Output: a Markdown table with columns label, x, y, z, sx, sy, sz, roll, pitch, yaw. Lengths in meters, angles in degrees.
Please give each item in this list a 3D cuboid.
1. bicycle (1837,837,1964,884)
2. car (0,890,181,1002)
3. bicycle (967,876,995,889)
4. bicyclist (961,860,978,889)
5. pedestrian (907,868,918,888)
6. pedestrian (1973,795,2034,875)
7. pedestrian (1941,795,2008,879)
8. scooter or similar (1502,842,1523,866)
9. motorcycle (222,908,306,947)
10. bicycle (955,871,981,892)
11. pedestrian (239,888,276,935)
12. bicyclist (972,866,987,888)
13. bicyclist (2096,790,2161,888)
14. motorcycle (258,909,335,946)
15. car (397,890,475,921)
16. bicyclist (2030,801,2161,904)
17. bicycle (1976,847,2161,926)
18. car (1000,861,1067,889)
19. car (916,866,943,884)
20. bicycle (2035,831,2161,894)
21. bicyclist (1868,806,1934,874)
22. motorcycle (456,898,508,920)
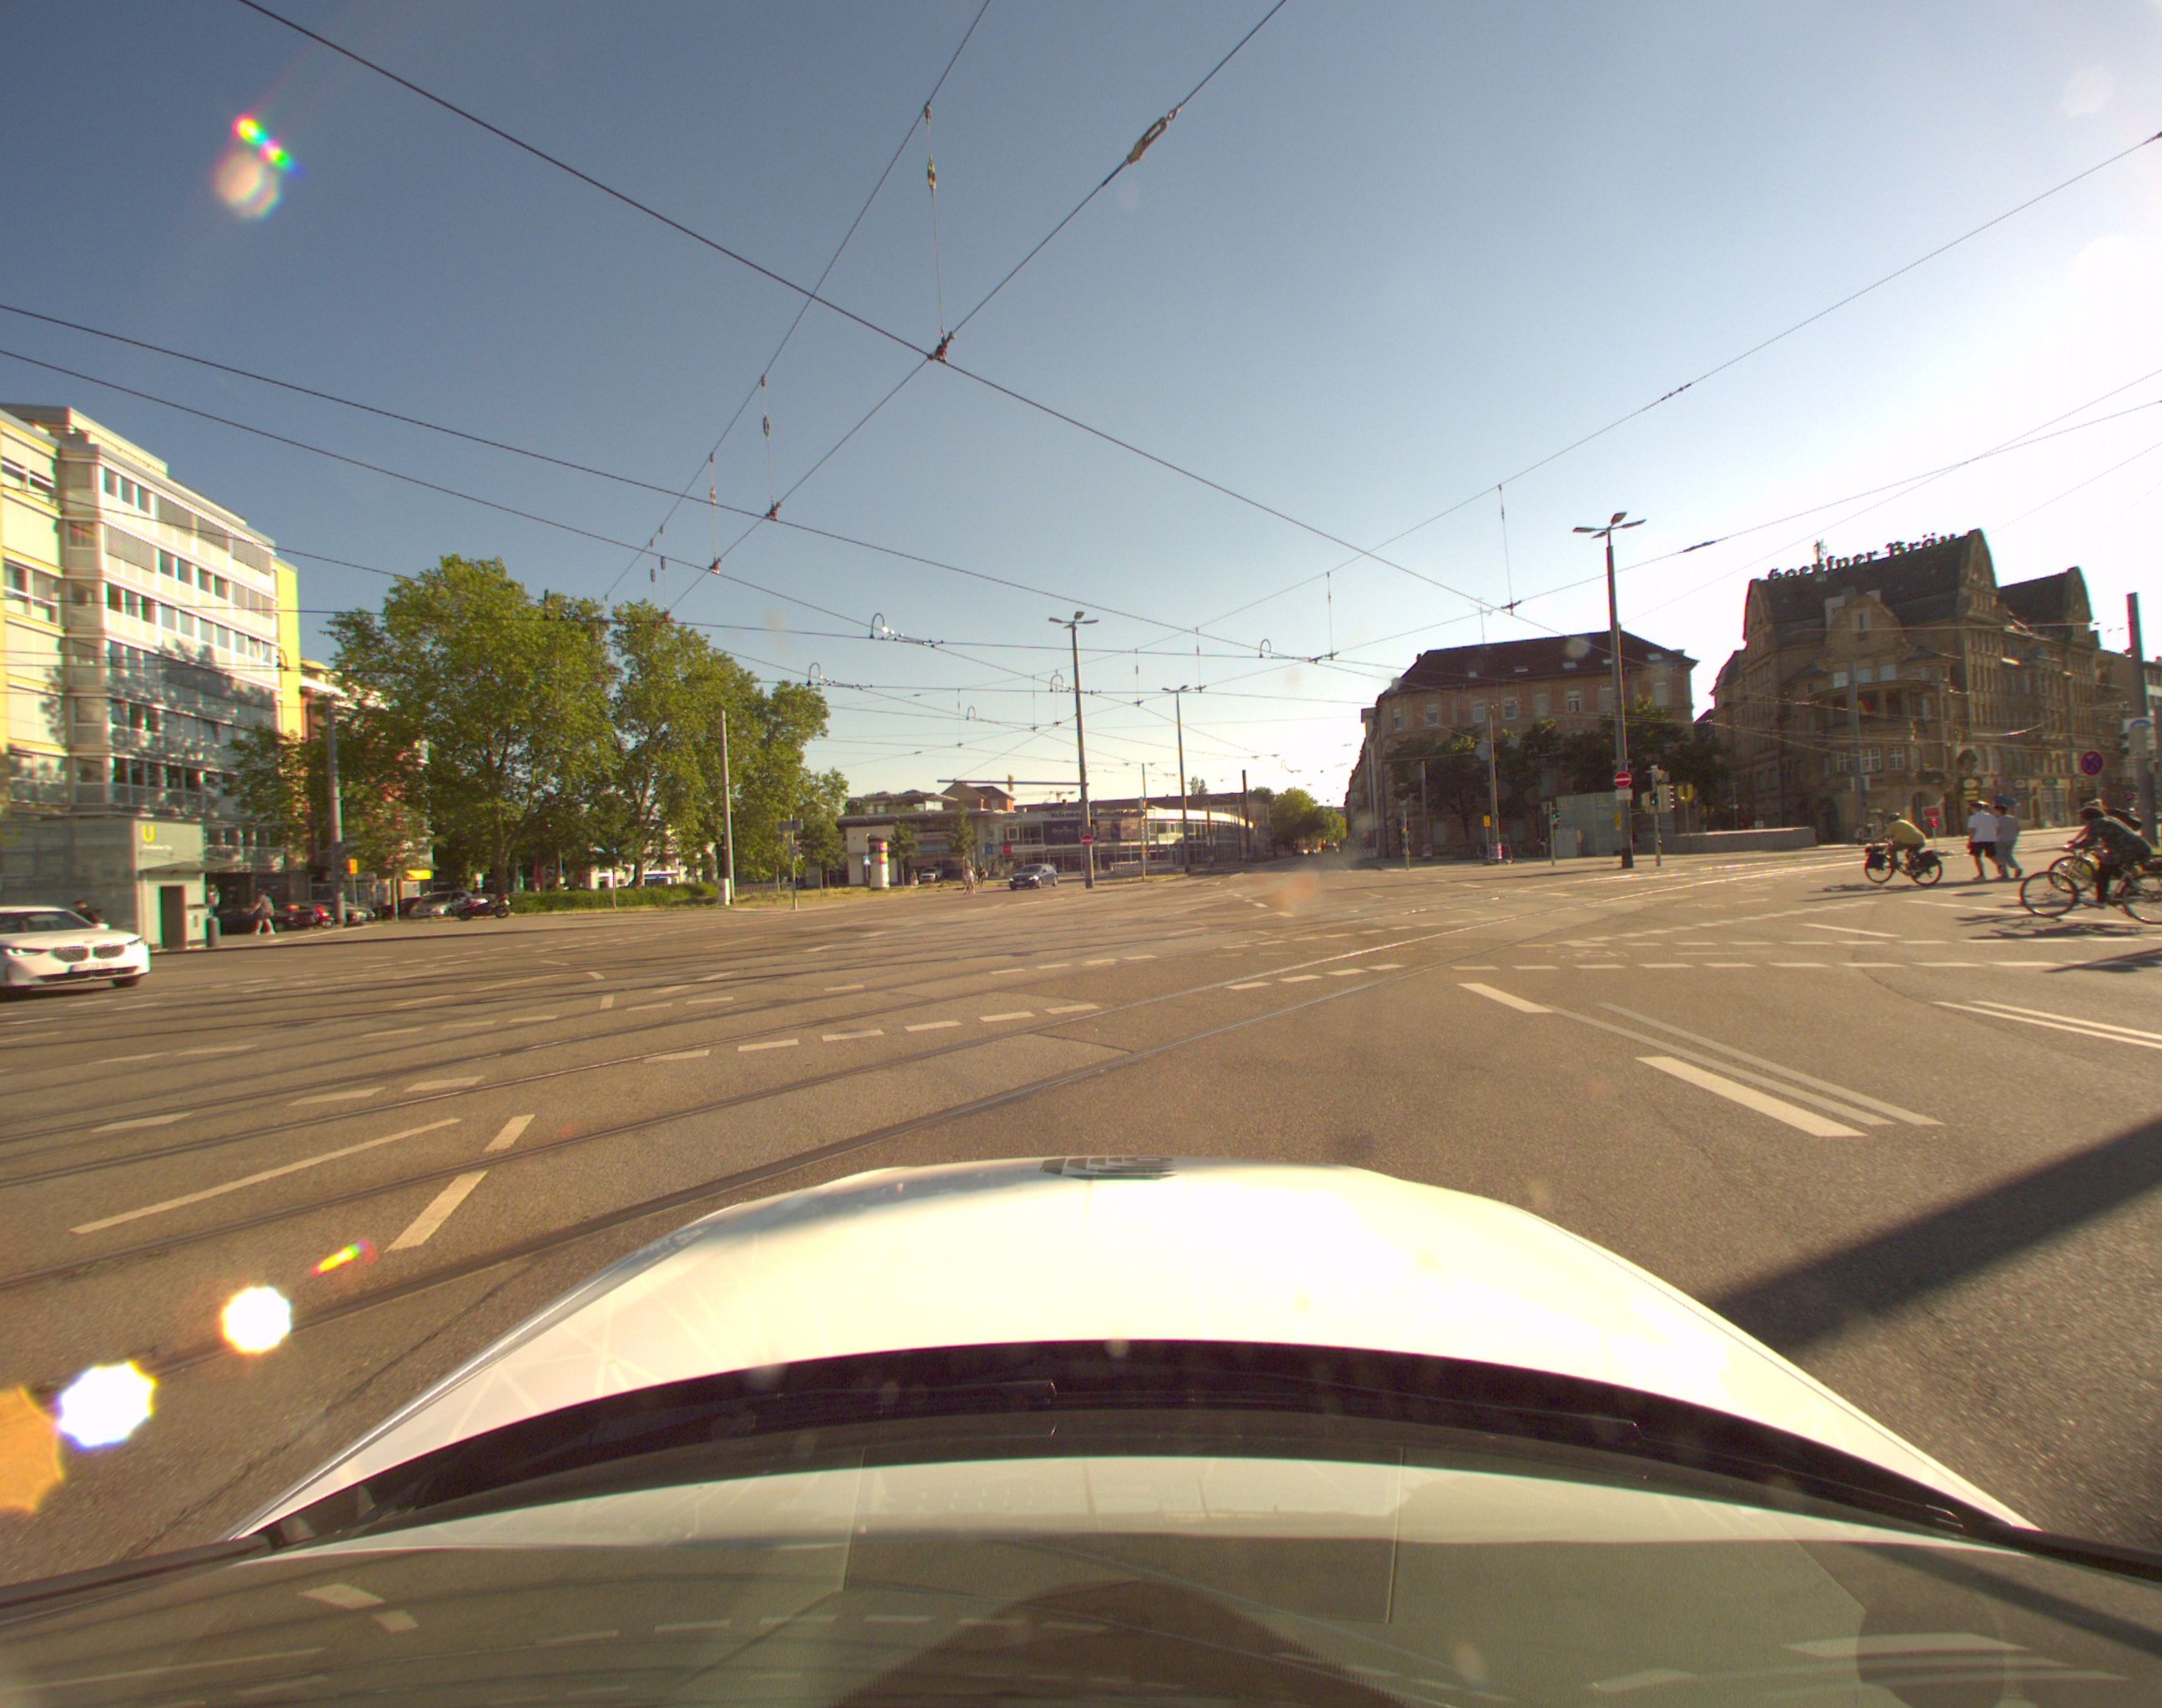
| label | x | y | z | sx | sy | sz | roll | pitch | yaw |
| --- | --- | --- | --- | --- | --- | --- | --- | --- | --- |
| bicycle | 19.390 | 0.145 | 19.351 | 0.533 | 1.049 | 2.317 | -1 | 0 | -5 |
| car | -19.990 | 1.748 | 15.274 | 4.861 | 1.824 | 2.007 | -4 | -2 | 13 |
| bicycle | -7.186 | 2.016 | 58.600 | 0.632 | 0.870 | 2.249 | -2 | -1 | 33 |
| bicyclist | -6.386 | 1.158 | 46.711 | 0.593 | 1.615 | 0.827 | -2 | -2 | 21 |
| pedestrian | -14.736 | 2.074 | 71.309 | 0.853 | 1.694 | 0.497 | -1 | -1 | 1 |
| pedestrian | 22.621 | -0.452 | 19.979 | 0.646 | 1.922 | 0.689 | -1 | -1 | -4 |
| pedestrian | 21.885 | -0.406 | 19.954 | 0.729 | 2.014 | 0.760 | -1 | -1 | -4 |
| scooter or similar | 25.461 | 0.024 | 48.085 | 0.780 | 1.376 | 1.917 | -2 | -1 | 18 |
| motorcycle | -41.053 | 3.679 | 40.973 | 2.675 | 1.770 | 1.351 | -1 | -1 | -12 |
| bicycle | -6.463 | 1.558 | 46.477 | 0.607 | 1.189 | 1.879 | -2 | -1 | 21 |
| pedestrian | -33.723 | 2.358 | 33.360 | 0.789 | 1.886 | 0.760 | -1 | -1 | 11 |
| bicyclist | -7.291 | 1.646 | 58.480 | 0.647 | 1.572 | 0.928 | -2 | -2 | 33 |
| bicyclist | 19.694 | -0.262 | 15.245 | 0.525 | 1.779 | 0.786 | 0 | -2 | -36 |
| motorcycle | -42.222 | 3.941 | 43.878 | 2.675 | 1.770 | 1.351 | -1 | -1 | -12 |
| car | -36.723 | 2.876 | 46.488 | 1.771 | 1.568 | 3.985 | -1 | -1 | -10 |
| bicyclist | 14.910 | -0.009 | 12.000 | 0.705 | 1.439 | 0.947 | -1 | -1 | 1 |
| bicycle | 14.938 | 0.433 | 12.127 | 0.696 | 1.049 | 2.321 | -1 | 0 | 2 |
| car | -2.756 | 1.224 | 48.136 | 1.974 | 1.585 | 4.025 | -2 | -1 | 31 |
| car | -16.066 | 2.233 | 86.580 | 1.987 | 1.750 | 3.999 | -1 | -1 | 0 |
| bicycle | 19.717 | 0.146 | 15.227 | 2.290 | 1.049 | 0.539 | -6 | -2 | 37 |
| bicyclist | 19.378 | -0.310 | 19.269 | 0.514 | 1.557 | 0.946 | -1 | -1 | -4 |
| motorcycle | -26.980 | 2.467 | 36.704 | 1.778 | 0.914 | 0.675 | -1 | -1 | -17 |
